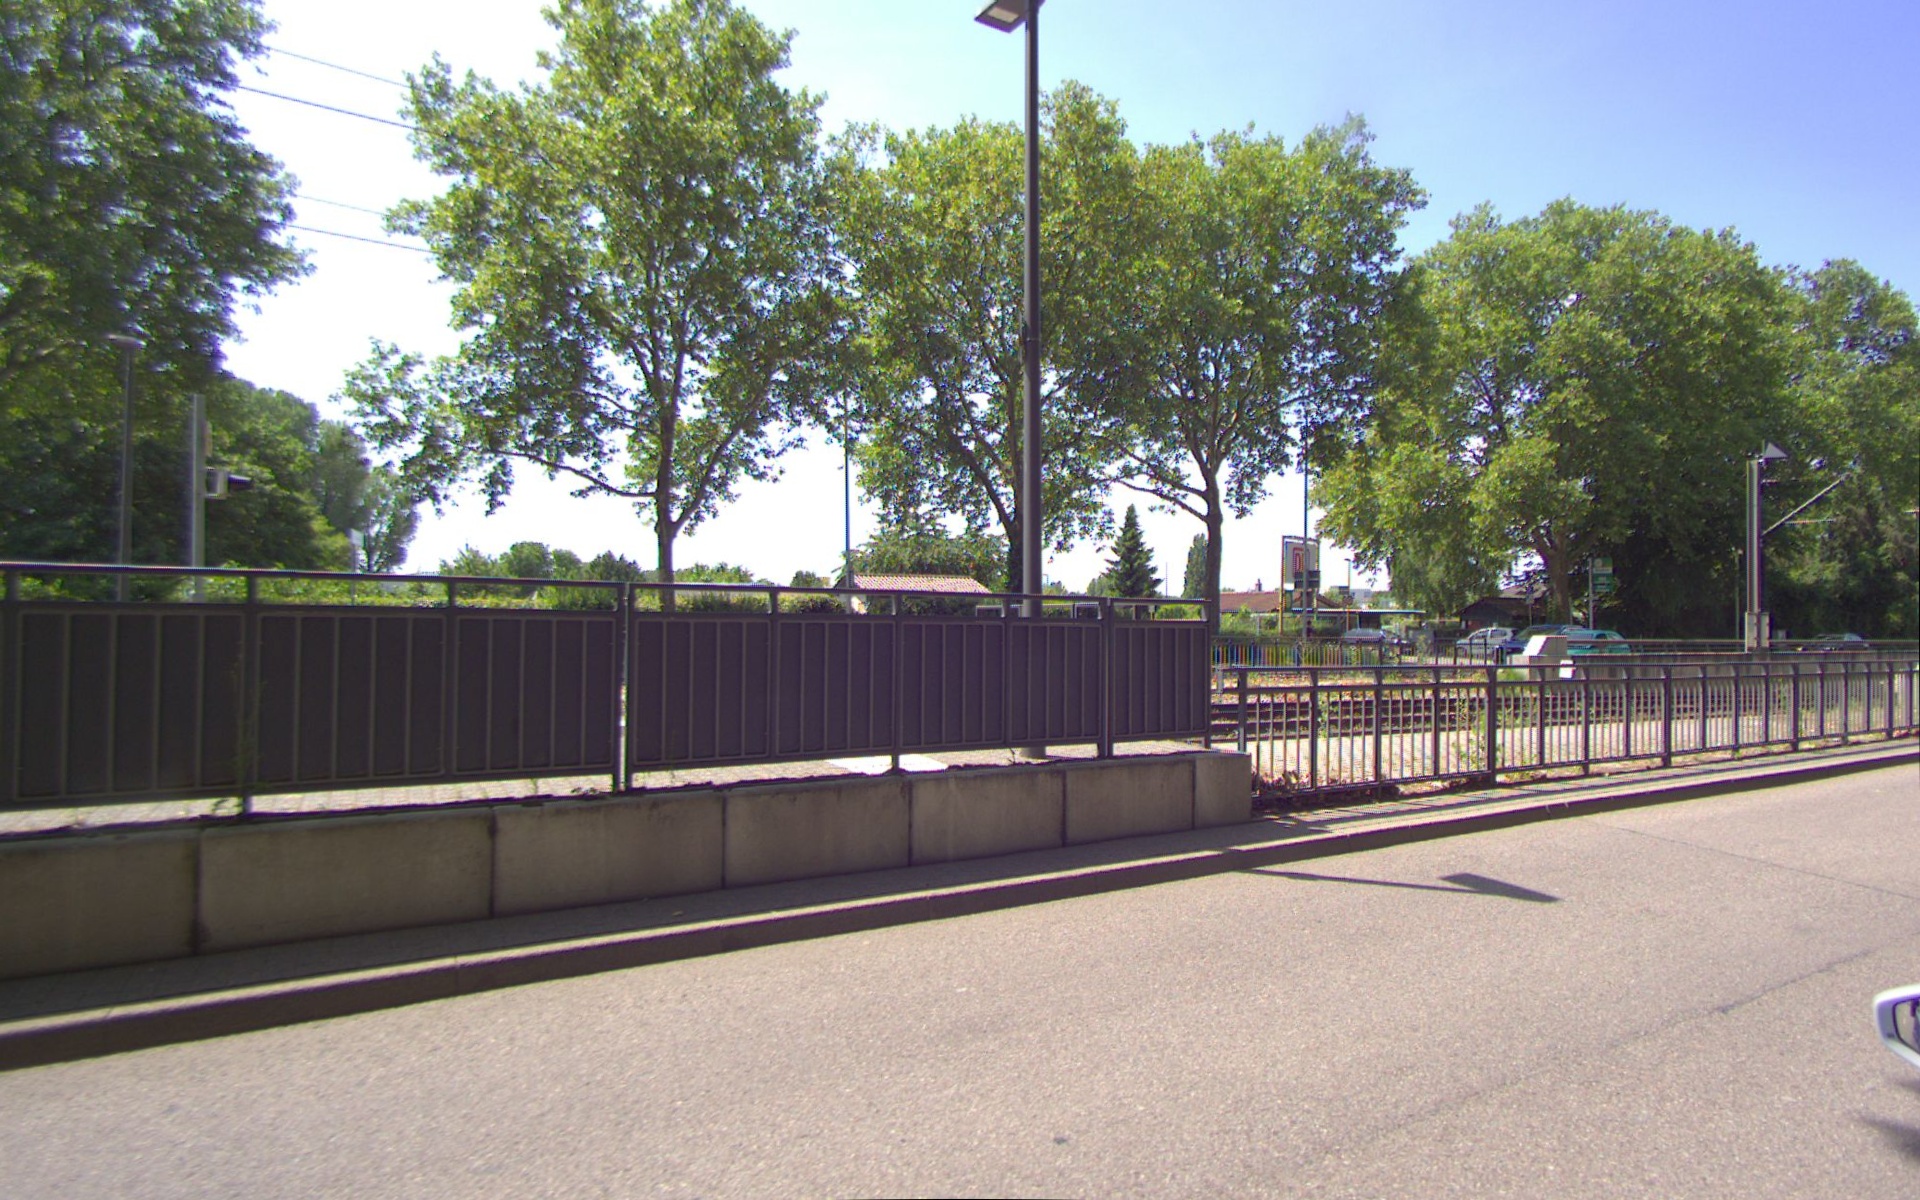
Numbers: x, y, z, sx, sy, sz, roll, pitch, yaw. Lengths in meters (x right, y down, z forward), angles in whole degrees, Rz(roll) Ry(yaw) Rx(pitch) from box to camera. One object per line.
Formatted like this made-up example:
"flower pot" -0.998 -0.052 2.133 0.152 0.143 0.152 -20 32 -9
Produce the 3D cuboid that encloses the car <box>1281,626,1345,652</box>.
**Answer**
"car" 21.047 2.300 59.944 1.642 1.495 3.287 2 -1 -41

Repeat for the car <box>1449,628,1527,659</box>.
"car" 27.568 2.260 52.488 1.642 1.495 3.287 2 -1 -41

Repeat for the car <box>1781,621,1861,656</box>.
"car" 44.716 2.001 52.150 4.330 1.706 1.737 1 -1 -29

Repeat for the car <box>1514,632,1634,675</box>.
"car" 19.725 1.707 32.237 3.789 1.282 1.639 1 -1 -29

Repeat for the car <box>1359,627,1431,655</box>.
"car" 24.052 2.253 55.631 1.642 1.495 3.287 2 -1 -41

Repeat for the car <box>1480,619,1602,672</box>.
"car" 20.892 1.627 36.091 4.330 1.706 1.736 2 2 -29

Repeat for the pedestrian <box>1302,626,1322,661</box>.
"pedestrian" 15.156 1.853 43.261 0.641 1.471 0.550 2 -1 -44
